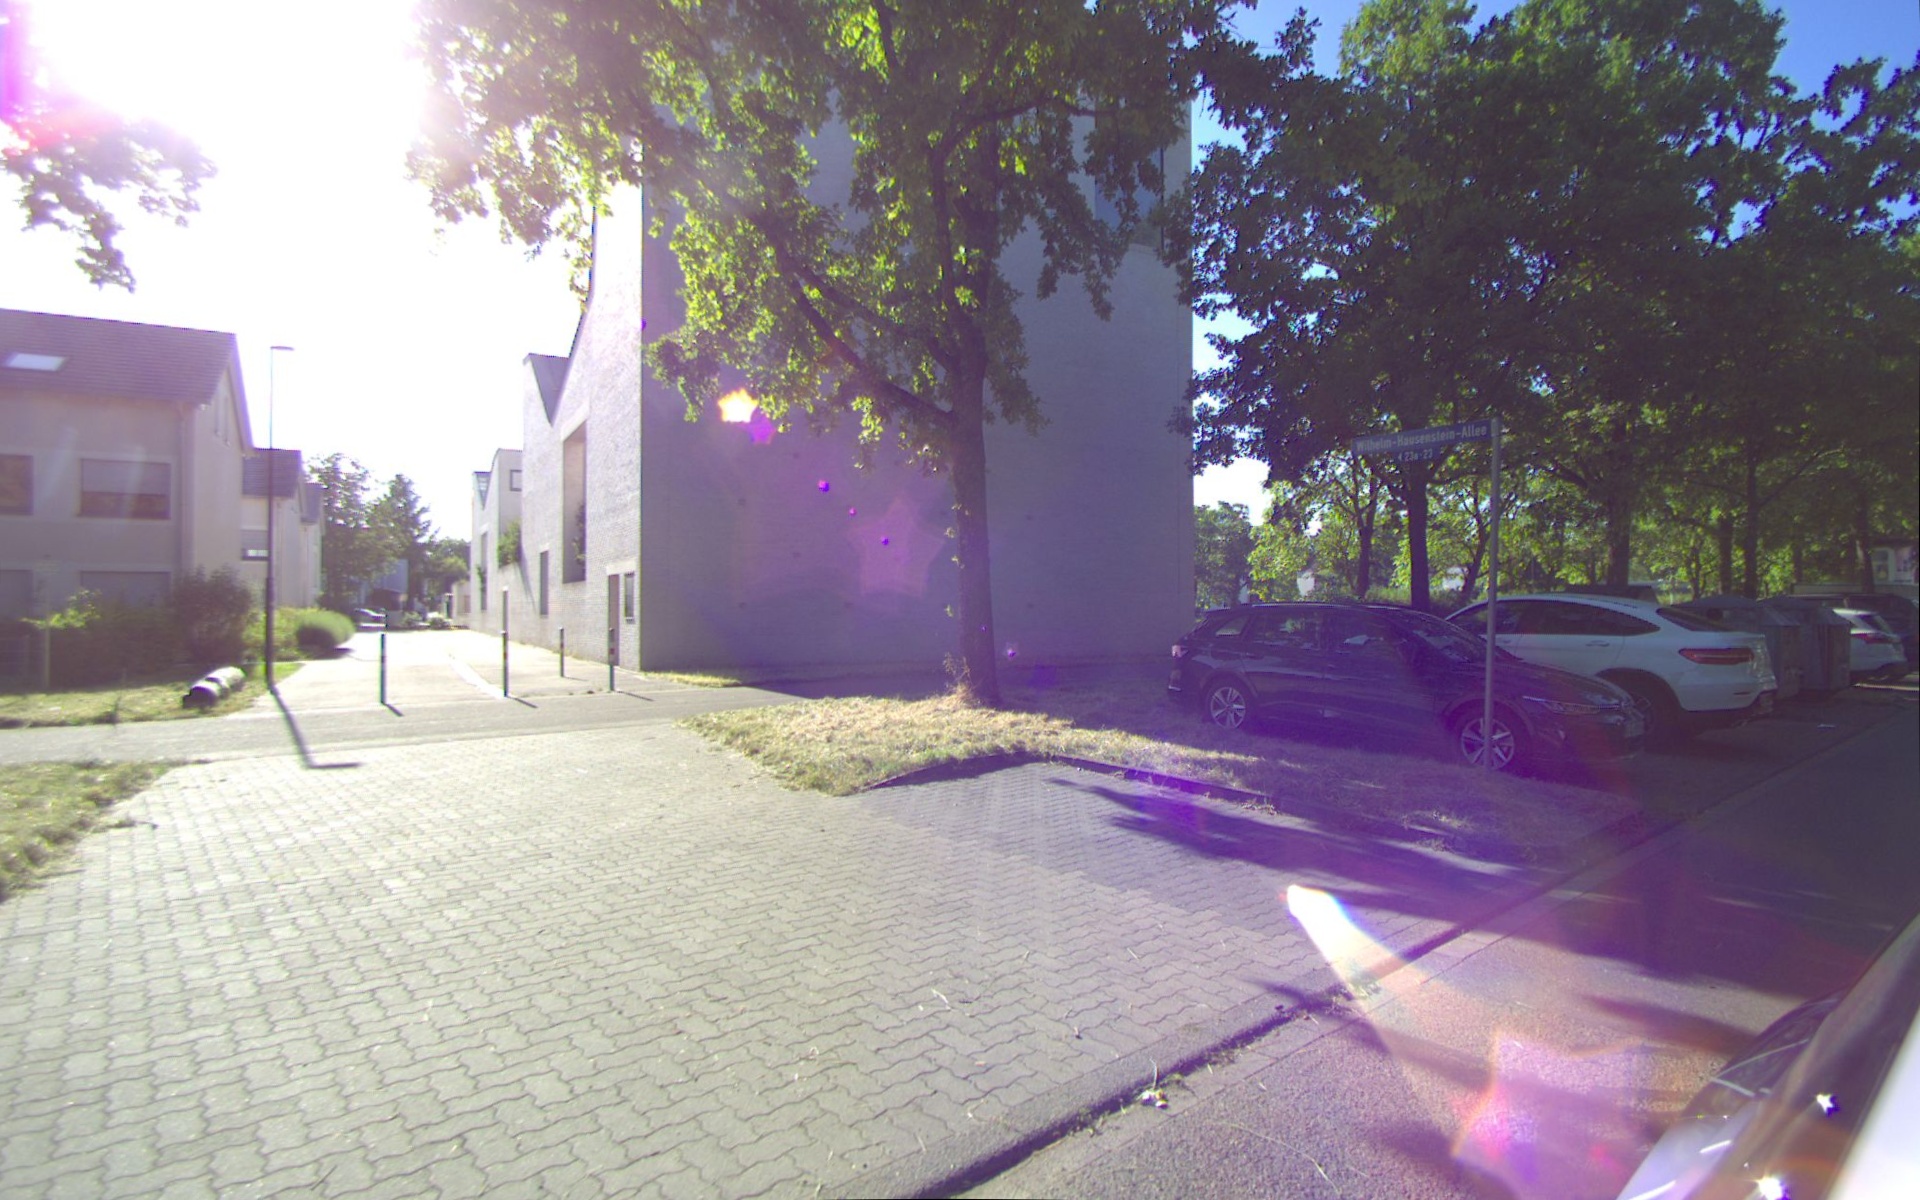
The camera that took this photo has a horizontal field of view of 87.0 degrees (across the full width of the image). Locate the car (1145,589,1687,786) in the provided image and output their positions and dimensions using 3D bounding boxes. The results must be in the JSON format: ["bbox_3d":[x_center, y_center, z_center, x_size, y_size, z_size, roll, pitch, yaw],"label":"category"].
[{"bbox_3d":[4.328,0.666,10.296,1.883,1.474,4.679,1,1,-41],"label":"car"}]

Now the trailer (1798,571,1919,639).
[{"bbox_3d":[33.722,0.172,36.020,1.655,2.346,5.790,1,1,-38],"label":"trailer"}]

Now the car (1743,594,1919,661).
[{"bbox_3d":[22.481,0.643,25.302,2.040,1.538,4.255,0,1,-39],"label":"car"}]

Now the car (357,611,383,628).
[{"bbox_3d":[-49.665,1.655,85.198,1.873,1.408,4.463,1,-1,-31],"label":"car"}]

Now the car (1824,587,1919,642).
[{"bbox_3d":[32.029,0.490,33.736,1.952,1.744,4.653,0,1,-39],"label":"car"}]

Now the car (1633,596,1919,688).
[{"bbox_3d":[15.712,0.711,19.506,1.767,1.490,4.232,1,1,-38],"label":"car"}]

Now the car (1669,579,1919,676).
[{"bbox_3d":[17.671,0.496,20.995,1.902,1.824,4.539,0,1,-40],"label":"car"}]

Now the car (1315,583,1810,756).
[{"bbox_3d":[6.843,0.632,11.986,1.882,1.600,4.681,1,1,-39],"label":"car"}]
